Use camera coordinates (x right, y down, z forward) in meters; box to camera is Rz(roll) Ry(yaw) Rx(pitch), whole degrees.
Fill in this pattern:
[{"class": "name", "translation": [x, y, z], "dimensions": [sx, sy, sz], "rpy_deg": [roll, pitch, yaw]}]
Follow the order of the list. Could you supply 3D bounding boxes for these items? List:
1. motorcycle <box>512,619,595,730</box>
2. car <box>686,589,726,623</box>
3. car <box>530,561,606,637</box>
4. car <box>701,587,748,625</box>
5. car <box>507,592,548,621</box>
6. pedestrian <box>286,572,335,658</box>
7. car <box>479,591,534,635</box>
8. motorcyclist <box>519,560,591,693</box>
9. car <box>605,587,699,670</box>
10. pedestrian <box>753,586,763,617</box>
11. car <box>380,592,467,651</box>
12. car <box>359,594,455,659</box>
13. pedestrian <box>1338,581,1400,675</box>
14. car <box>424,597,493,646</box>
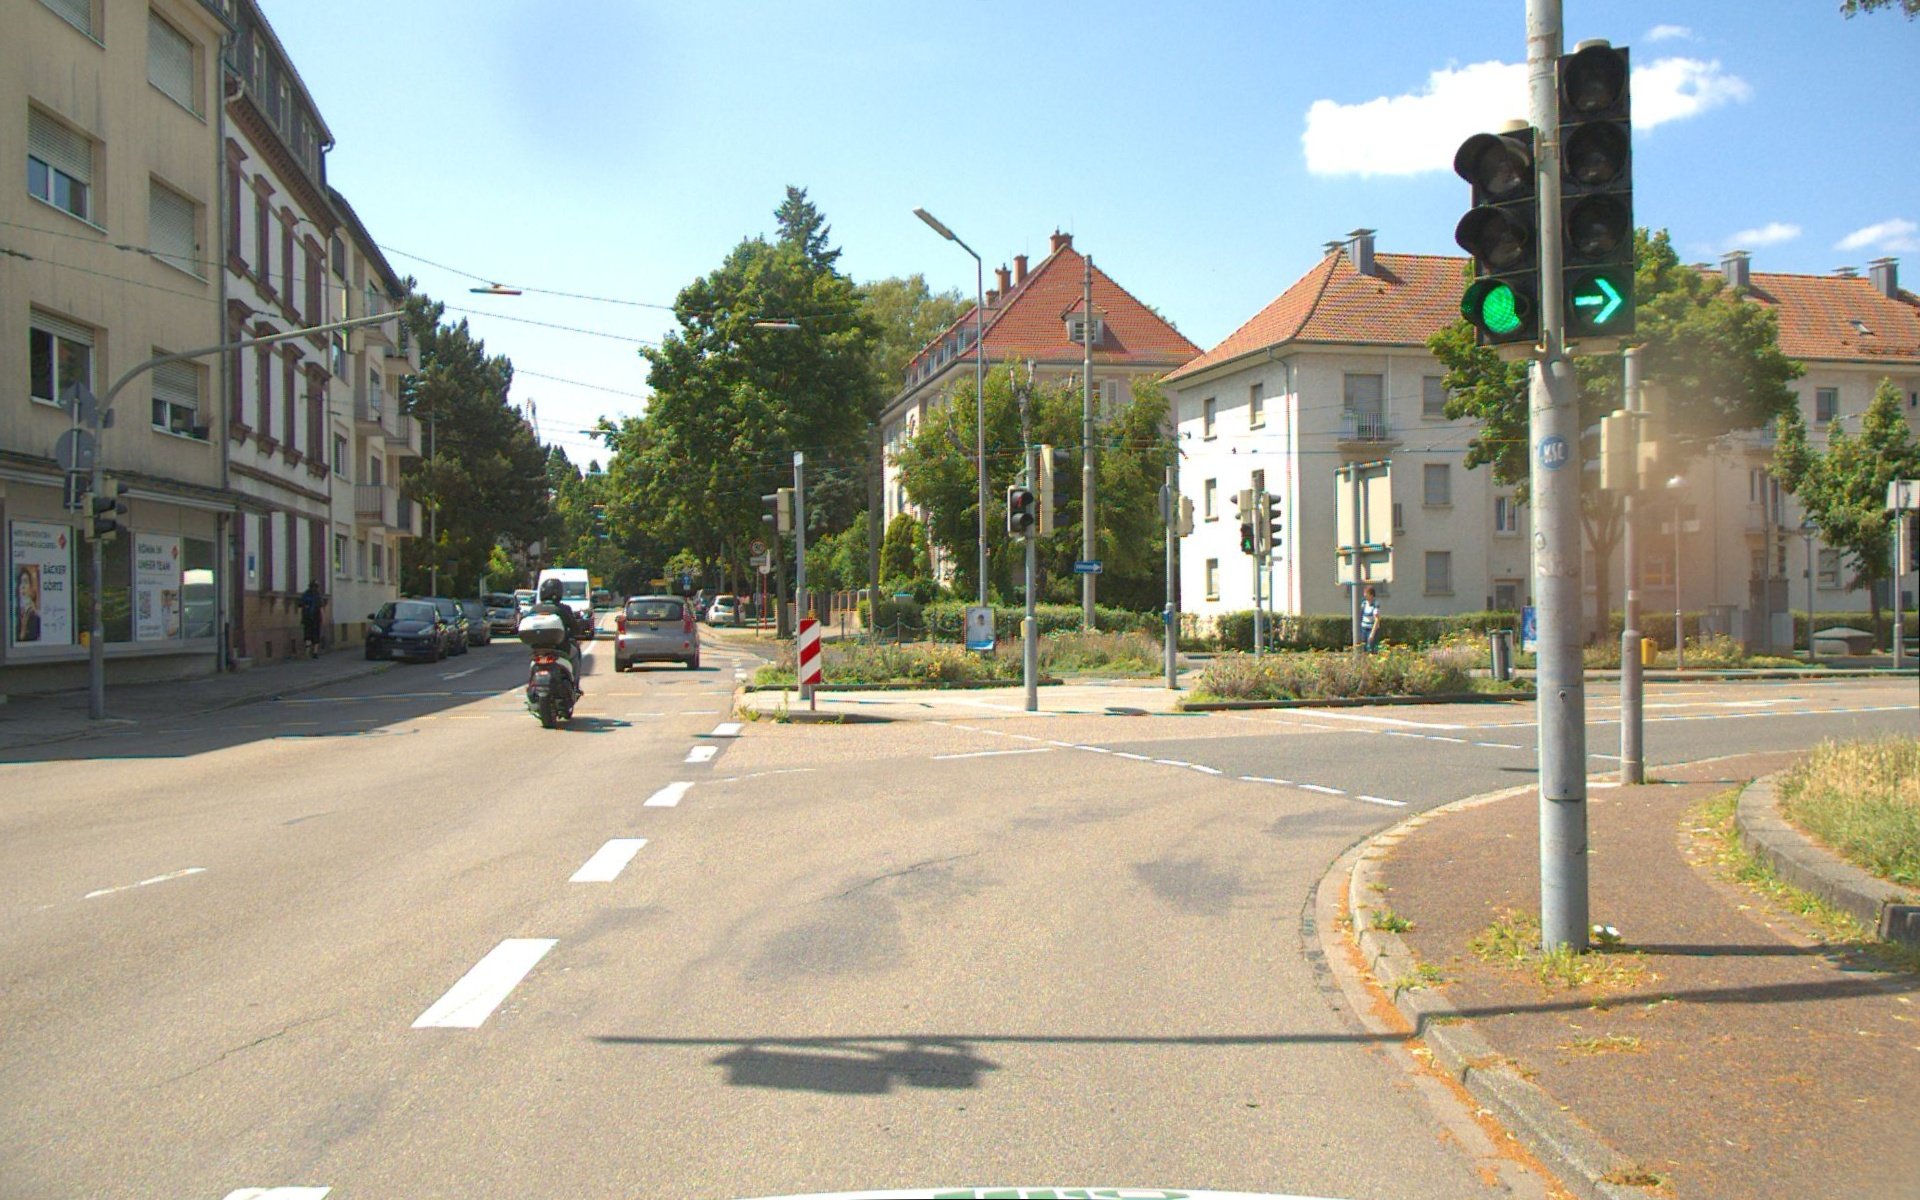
[{"class": "motorcycle", "translation": [-4.606, 0.810, 18.863], "dimensions": [0.697, 1.154, 2.193], "rpy_deg": [0, 0, -8]}, {"class": "car", "translation": [-14.587, 0.322, 95.000], "dimensions": [1.959, 1.940, 3.986], "rpy_deg": [0, 0, -13]}, {"class": "car", "translation": [-14.524, -0.033, 61.610], "dimensions": [2.176, 2.544, 7.535], "rpy_deg": [-3, 0, -10]}, {"class": "car", "translation": [-11.700, 0.294, 81.876], "dimensions": [1.959, 1.839, 3.986], "rpy_deg": [0, 0, -13]}, {"class": "car", "translation": [-25.530, 0.401, 97.802], "dimensions": [1.765, 1.585, 4.031], "rpy_deg": [3, 0, -7]}, {"class": "pedestrian", "translation": [-15.085, 0.351, 38.451], "dimensions": [0.919, 1.965, 0.974], "rpy_deg": [0, 0, -13]}, {"class": "car", "translation": [-19.376, 0.547, 70.819], "dimensions": [1.766, 1.747, 4.028], "rpy_deg": [3, 0, -9]}, {"class": "motorcyclist", "translation": [-4.605, 0.293, 18.843], "dimensions": [0.697, 1.471, 1.017], "rpy_deg": [0, 0, -8]}, {"class": "car", "translation": [-6.320, 0.545, 33.912], "dimensions": [1.767, 1.585, 4.026], "rpy_deg": [0, 0, -11]}, {"class": "pedestrian", "translation": [-10.972, 0.084, 89.846], "dimensions": [0.499, 1.685, 0.465], "rpy_deg": [0, 0, -8]}, {"class": "car", "translation": [-14.885, 0.606, 46.068], "dimensions": [1.959, 1.546, 3.986], "rpy_deg": [1, -1, -14]}, {"class": "car", "translation": [-13.822, 0.663, 41.531], "dimensions": [1.960, 1.546, 3.985], "rpy_deg": [1, -1, -14]}, {"class": "pedestrian", "translation": [7.629, 0.513, 30.851], "dimensions": [0.826, 1.735, 0.755], "rpy_deg": [0, 0, -28]}, {"class": "car", "translation": [-16.531, 0.693, 54.663], "dimensions": [1.960, 1.536, 3.986], "rpy_deg": [0, 0, -14]}]
